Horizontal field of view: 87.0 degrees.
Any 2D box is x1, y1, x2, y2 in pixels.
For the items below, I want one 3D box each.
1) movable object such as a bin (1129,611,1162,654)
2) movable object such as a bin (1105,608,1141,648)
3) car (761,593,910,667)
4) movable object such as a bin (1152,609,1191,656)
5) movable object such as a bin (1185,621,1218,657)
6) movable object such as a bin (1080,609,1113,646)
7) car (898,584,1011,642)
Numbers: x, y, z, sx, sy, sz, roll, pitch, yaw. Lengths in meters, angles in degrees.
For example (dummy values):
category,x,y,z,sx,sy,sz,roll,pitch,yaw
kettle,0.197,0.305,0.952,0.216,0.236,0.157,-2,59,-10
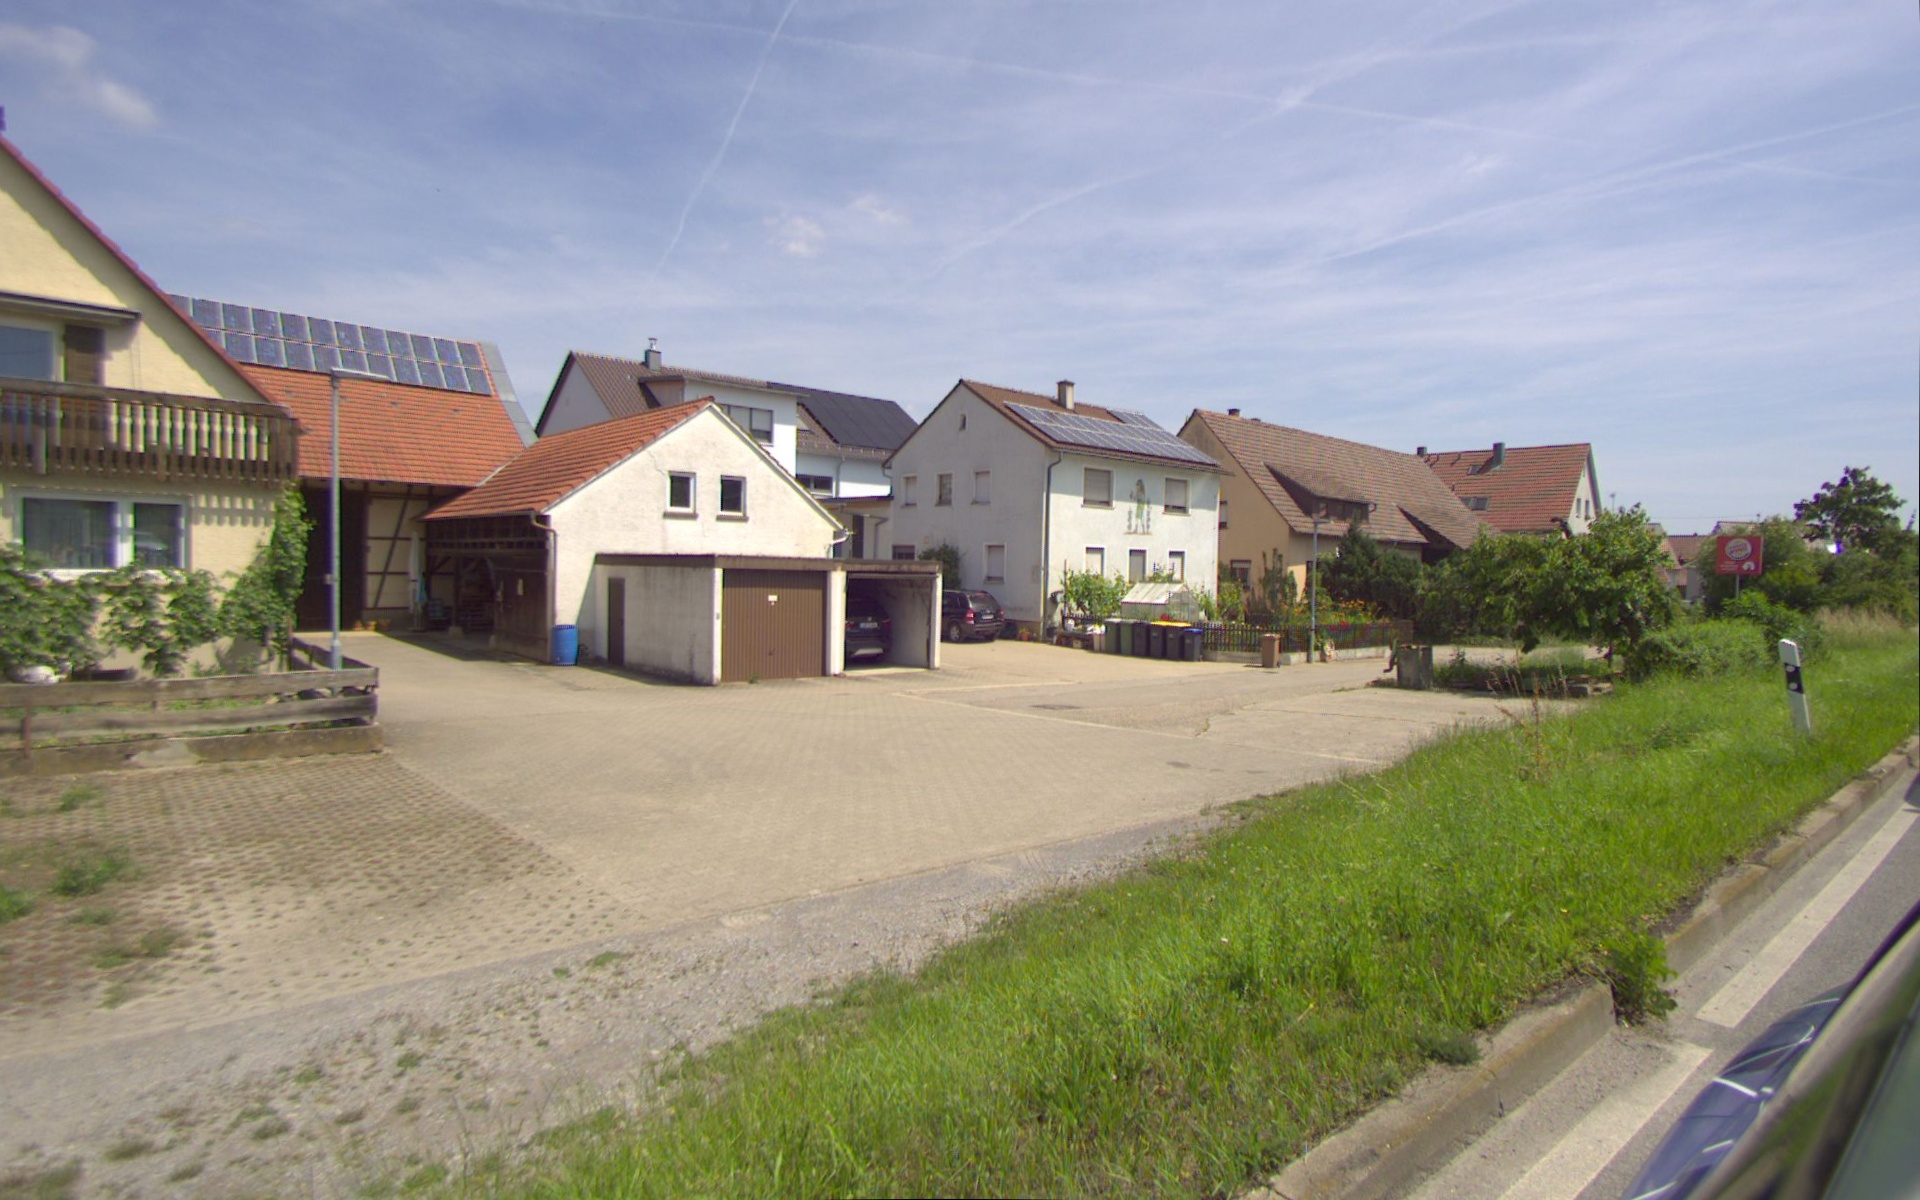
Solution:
category,x,y,z,sx,sy,sz,roll,pitch,yaw
movable object such as a bin,5.846,1.014,31.923,0.806,1.355,0.678,0,-1,-41
movable object such as a bin,5.250,0.895,32.621,0.874,1.262,0.744,0,-1,-41
car,-3.126,0.668,24.821,1.793,1.624,3.996,0,0,-39
movable object such as a bin,6.409,0.981,30.706,0.930,1.388,0.764,0,-1,-41
movable object such as a bin,7.162,1.142,29.966,0.743,1.040,0.645,0,-1,-41
movable object such as a bin,4.472,0.898,33.182,0.815,1.171,0.740,0,-1,-41
car,-0.243,0.399,35.109,1.796,1.755,3.996,-1,3,-40
